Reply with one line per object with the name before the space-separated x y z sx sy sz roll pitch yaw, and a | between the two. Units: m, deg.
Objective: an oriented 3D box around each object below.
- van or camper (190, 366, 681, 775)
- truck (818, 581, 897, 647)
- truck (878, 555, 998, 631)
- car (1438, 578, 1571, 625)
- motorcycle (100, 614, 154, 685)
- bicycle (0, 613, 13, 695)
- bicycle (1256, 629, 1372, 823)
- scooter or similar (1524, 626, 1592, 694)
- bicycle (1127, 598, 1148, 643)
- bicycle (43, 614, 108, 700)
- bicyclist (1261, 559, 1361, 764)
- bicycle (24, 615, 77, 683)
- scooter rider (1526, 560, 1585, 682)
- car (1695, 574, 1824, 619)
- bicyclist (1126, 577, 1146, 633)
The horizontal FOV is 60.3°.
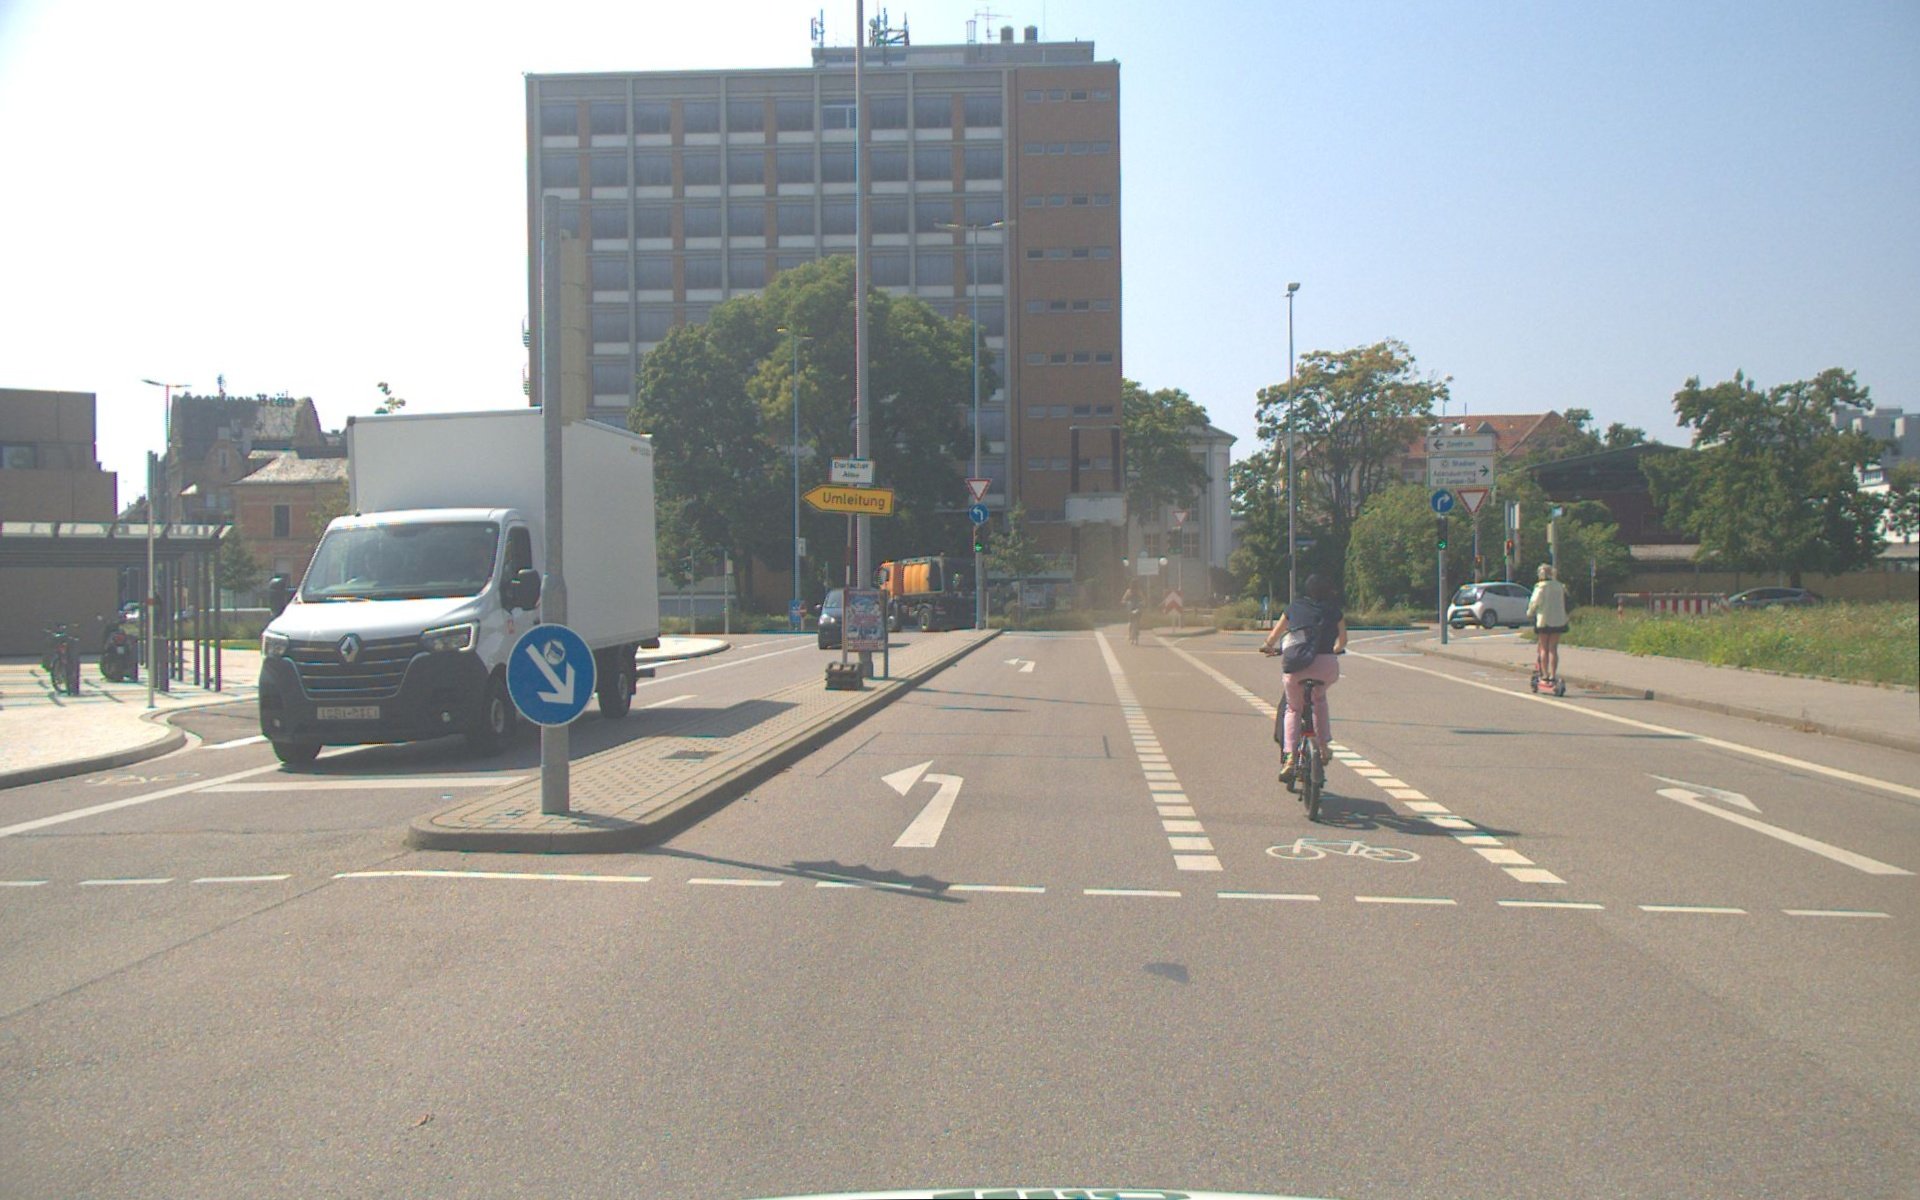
van or camper | -4.984 -0.274 17.365 2.349 3.364 7.194 -1 0 4
truck | -2.515 0.316 41.212 1.522 1.530 3.622 -1 1 3
truck | -1.005 -0.278 70.201 2.667 3.042 5.908 0 0 -29
car | 17.528 0.025 53.242 3.938 1.415 1.833 -1 0 -26
motorcycle | -15.397 0.885 30.611 0.595 1.232 2.240 -1 0 -20
bicycle | -14.808 0.822 24.937 0.595 1.232 1.800 -1 0 -20
bicycle | 2.414 0.823 11.434 0.591 1.183 1.812 -1 0 6
scooter or similar | 8.859 0.873 24.561 0.755 0.943 1.622 0 0 13
bicycle | 4.574 0.522 42.761 0.435 1.136 1.447 -1 0 3
bicycle | -13.507 0.842 25.290 0.595 1.232 1.800 -1 0 -20
bicyclist | 2.393 0.405 11.333 0.590 1.358 0.660 -1 0 6
bicycle | -17.457 0.923 31.786 0.595 1.232 1.800 -1 0 -20
scooter rider | 8.887 0.309 24.703 0.745 1.806 0.555 -1 0 12
car | 29.743 -0.144 61.618 3.902 1.592 1.824 -1 0 6
bicyclist | 4.575 0.128 43.003 0.440 1.446 0.496 -1 0 3
